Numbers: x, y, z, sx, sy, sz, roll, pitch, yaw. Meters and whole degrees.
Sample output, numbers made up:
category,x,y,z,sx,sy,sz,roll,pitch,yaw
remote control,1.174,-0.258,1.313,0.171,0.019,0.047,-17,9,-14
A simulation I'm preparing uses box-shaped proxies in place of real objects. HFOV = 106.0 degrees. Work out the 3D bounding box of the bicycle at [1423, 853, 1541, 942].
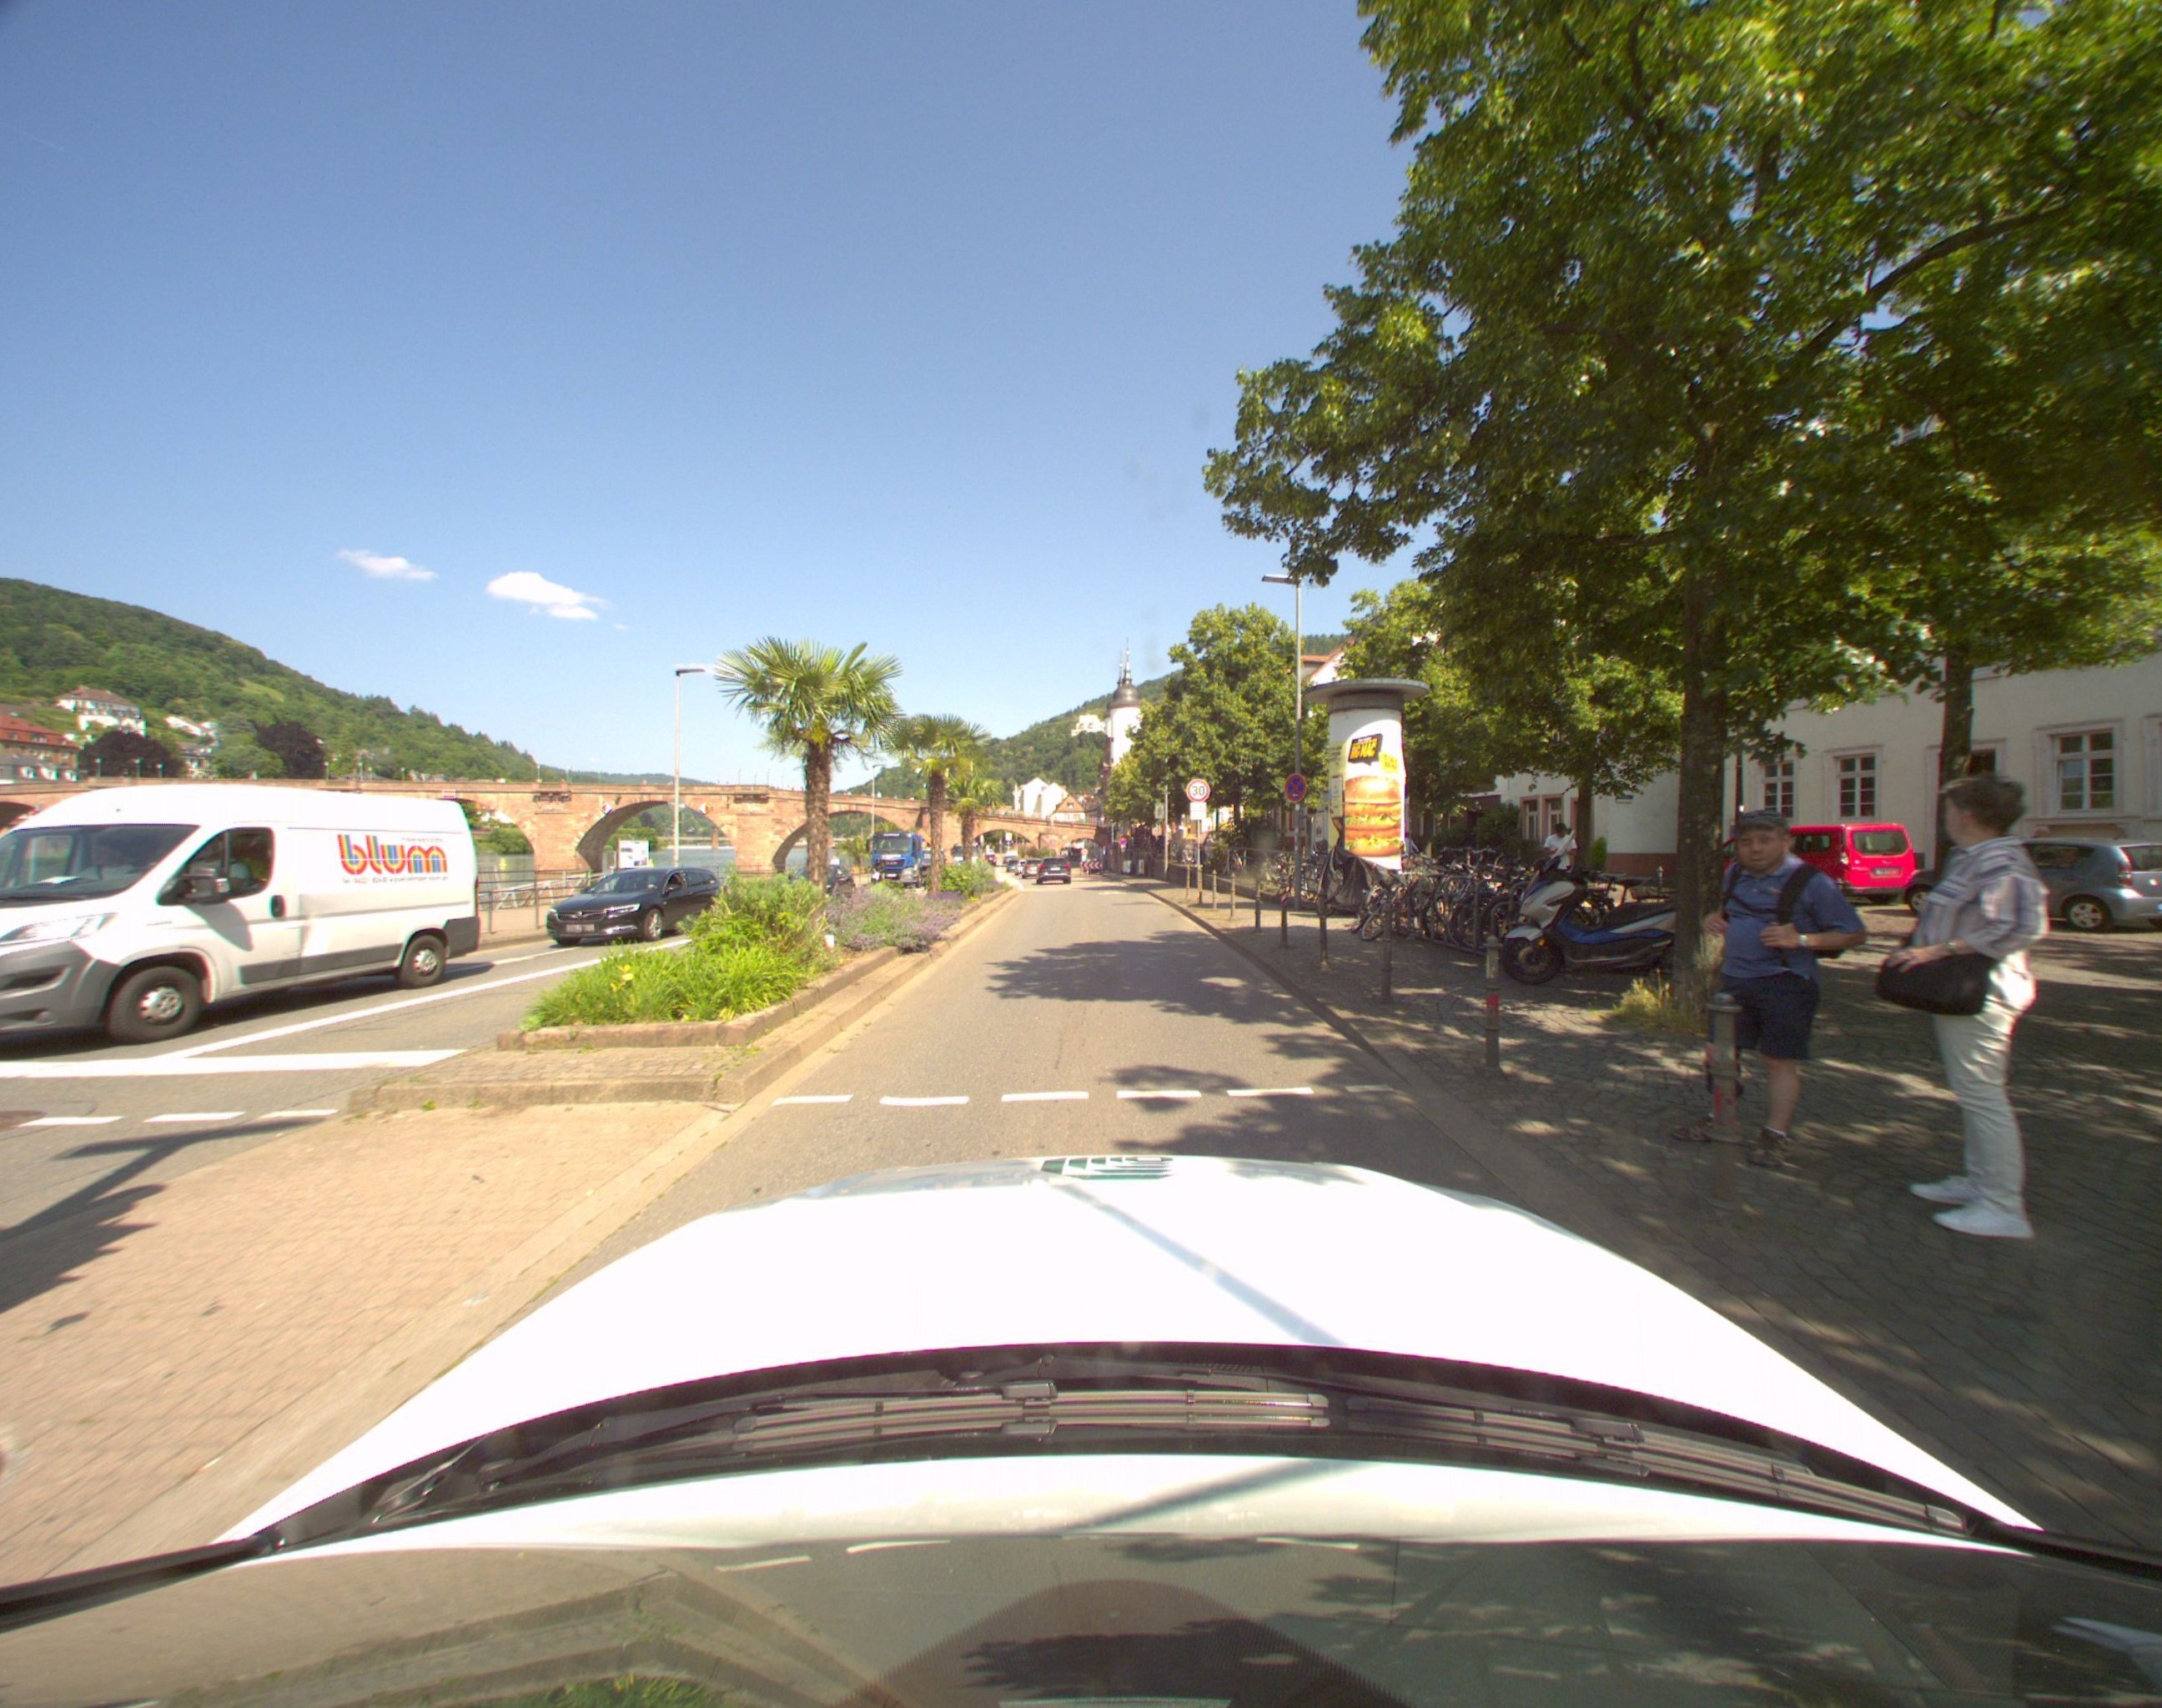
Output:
category,x,y,z,sx,sy,sz,roll,pitch,yaw
bicycle,5.275,0.560,10.726,1.482,1.120,0.250,-1,0,-6

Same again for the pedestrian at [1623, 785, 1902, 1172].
category,x,y,z,sx,sy,sz,roll,pitch,yaw
pedestrian,3.272,0.534,3.973,0.693,1.677,0.762,-2,1,-8

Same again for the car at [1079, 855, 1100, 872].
category,x,y,z,sx,sy,sz,roll,pitch,yaw
car,0.889,0.929,79.760,1.711,1.596,3.900,0,1,5

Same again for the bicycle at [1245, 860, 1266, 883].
category,x,y,z,sx,sy,sz,roll,pitch,yaw
bicycle,5.174,0.511,24.204,0.249,0.664,1.468,0,0,-2

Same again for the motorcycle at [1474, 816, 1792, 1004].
category,x,y,z,sx,sy,sz,roll,pitch,yaw
motorcycle,4.902,0.449,7.372,2.269,1.465,0.769,-1,-1,40

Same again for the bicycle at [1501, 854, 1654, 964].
category,x,y,z,sx,sy,sz,roll,pitch,yaw
bicycle,5.305,0.573,8.725,1.480,1.120,0.294,-1,0,-3

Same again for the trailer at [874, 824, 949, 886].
category,x,y,z,sx,sy,sz,roll,pitch,yaw
trailer,-10.050,0.004,49.239,2.649,3.403,8.825,0,1,0

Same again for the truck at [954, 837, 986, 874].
category,x,y,z,sx,sy,sz,roll,pitch,yaw
truck,-10.778,0.106,79.314,2.652,3.403,5.130,0,1,-3

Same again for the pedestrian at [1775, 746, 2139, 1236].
category,x,y,z,sx,sy,sz,roll,pitch,yaw
pedestrian,3.566,0.485,3.379,0.693,1.771,0.762,-2,1,-8

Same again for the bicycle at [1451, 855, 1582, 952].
category,x,y,z,sx,sy,sz,roll,pitch,yaw
bicycle,5.288,0.587,9.902,1.482,1.120,0.293,-1,0,-6

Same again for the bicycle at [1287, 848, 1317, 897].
category,x,y,z,sx,sy,sz,roll,pitch,yaw
bicycle,5.283,0.418,19.523,0.249,1.120,1.487,0,0,-2

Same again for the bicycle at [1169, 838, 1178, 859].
category,x,y,z,sx,sy,sz,roll,pitch,yaw
bicycle,4.854,-0.280,42.754,0.249,1.096,1.488,2,0,-1

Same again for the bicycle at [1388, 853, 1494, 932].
category,x,y,z,sx,sy,sz,roll,pitch,yaw
bicycle,5.301,0.558,12.003,1.482,1.120,0.250,-1,0,-6

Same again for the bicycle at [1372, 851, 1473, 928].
category,x,y,z,sx,sy,sz,roll,pitch,yaw
bicycle,5.323,0.551,12.701,1.482,1.120,0.250,-2,0,-6

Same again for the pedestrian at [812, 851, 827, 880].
category,x,y,z,sx,sy,sz,roll,pitch,yaw
pedestrian,-16.537,0.733,51.555,0.761,1.780,0.694,0,1,-9

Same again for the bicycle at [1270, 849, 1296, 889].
category,x,y,z,sx,sy,sz,roll,pitch,yaw
bicycle,5.220,0.373,21.062,0.249,1.010,1.487,0,0,-2

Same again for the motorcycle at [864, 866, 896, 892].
category,x,y,z,sx,sy,sz,roll,pitch,yaw
motorcycle,-9.408,1.148,38.188,0.754,1.131,2.457,0,1,3

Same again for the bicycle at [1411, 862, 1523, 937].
category,x,y,z,sx,sy,sz,roll,pitch,yaw
bicycle,5.339,0.624,11.268,1.482,0.979,0.250,-1,0,-6

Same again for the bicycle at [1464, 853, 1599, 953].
category,x,y,z,sx,sy,sz,roll,pitch,yaw
bicycle,5.312,0.563,9.605,1.482,1.120,0.293,-1,0,-6

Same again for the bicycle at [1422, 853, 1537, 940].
category,x,y,z,sx,sy,sz,roll,pitch,yaw
bicycle,5.384,0.565,10.999,1.482,1.120,0.250,-1,0,-6

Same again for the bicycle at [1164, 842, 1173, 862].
category,x,y,z,sx,sy,sz,roll,pitch,yaw
bicycle,4.810,-0.123,44.843,0.249,1.096,1.488,2,0,-1

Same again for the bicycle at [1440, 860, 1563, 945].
category,x,y,z,sx,sy,sz,roll,pitch,yaw
bicycle,5.405,0.609,10.489,1.482,1.031,0.293,-1,0,-6

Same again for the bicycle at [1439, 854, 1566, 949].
category,x,y,z,sx,sy,sz,roll,pitch,yaw
bicycle,5.272,0.581,10.192,1.482,1.120,0.293,-1,0,-6

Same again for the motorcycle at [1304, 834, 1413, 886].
category,x,y,z,sx,sy,sz,roll,pitch,yaw
motorcycle,7.694,0.154,22.677,2.810,1.398,0.830,0,0,18

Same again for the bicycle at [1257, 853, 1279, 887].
category,x,y,z,sx,sy,sz,roll,pitch,yaw
bicycle,5.190,0.435,22.650,0.249,0.904,1.487,0,0,-2

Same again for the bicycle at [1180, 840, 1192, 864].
category,x,y,z,sx,sy,sz,roll,pitch,yaw
bicycle,4.927,-0.114,38.424,0.274,1.096,1.488,-5,0,-1

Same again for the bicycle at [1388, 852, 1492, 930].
category,x,y,z,sx,sy,sz,roll,pitch,yaw
bicycle,5.405,0.553,12.264,1.482,1.120,0.250,-1,0,-6

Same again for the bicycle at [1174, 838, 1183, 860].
category,x,y,z,sx,sy,sz,roll,pitch,yaw
bicycle,4.874,-0.246,40.828,0.249,1.096,1.488,2,0,-1

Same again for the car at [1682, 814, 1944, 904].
category,x,y,z,sx,sy,sz,roll,pitch,yaw
car,17.108,0.058,19.443,1.989,1.902,4.629,0,1,-3

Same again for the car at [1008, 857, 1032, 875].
category,x,y,z,sx,sy,sz,roll,pitch,yaw
car,-5.930,1.109,79.102,1.987,1.553,4.831,0,1,0

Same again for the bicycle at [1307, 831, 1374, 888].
category,x,y,z,sx,sy,sz,roll,pitch,yaw
bicycle,6.932,0.141,21.782,1.702,1.483,0.269,-1,0,-3

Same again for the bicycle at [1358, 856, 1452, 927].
category,x,y,z,sx,sy,sz,roll,pitch,yaw
bicycle,5.283,0.601,13.277,1.482,1.120,0.250,0,0,-6

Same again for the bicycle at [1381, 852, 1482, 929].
category,x,y,z,sx,sy,sz,roll,pitch,yaw
bicycle,5.366,0.548,12.481,1.482,1.120,0.250,-1,0,-6

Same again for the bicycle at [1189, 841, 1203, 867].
category,x,y,z,sx,sy,sz,roll,pitch,yaw
bicycle,4.915,0.005,34.854,0.344,1.096,1.488,2,0,-1

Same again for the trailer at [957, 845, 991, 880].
category,x,y,z,sx,sy,sz,roll,pitch,yaw
trailer,-11.031,0.741,84.547,2.651,3.403,10.158,0,1,-3

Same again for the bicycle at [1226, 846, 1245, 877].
category,x,y,z,sx,sy,sz,roll,pitch,yaw
bicycle,5.161,0.243,27.248,0.249,1.000,1.487,2,0,-2

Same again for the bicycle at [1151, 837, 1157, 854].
category,x,y,z,sx,sy,sz,roll,pitch,yaw
bicycle,4.793,-0.556,53.462,0.354,1.096,1.491,2,0,5

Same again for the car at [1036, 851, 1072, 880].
category,x,y,z,sx,sy,sz,roll,pitch,yaw
car,-1.503,0.648,45.690,1.921,1.553,4.828,-1,-1,-2

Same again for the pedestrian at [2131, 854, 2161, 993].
category,x,y,z,sx,sy,sz,roll,pitch,yaw
pedestrian,10.321,0.655,7.384,0.625,1.281,0.752,2,0,-8

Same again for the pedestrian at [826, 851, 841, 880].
category,x,y,z,sx,sy,sz,roll,pitch,yaw
pedestrian,-15.695,0.732,51.629,0.761,1.780,0.694,0,1,-9

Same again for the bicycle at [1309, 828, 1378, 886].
category,x,y,z,sx,sy,sz,roll,pitch,yaw
bicycle,6.833,0.085,21.205,1.718,1.483,0.269,-1,0,-3

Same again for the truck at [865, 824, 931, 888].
category,x,y,z,sx,sy,sz,roll,pitch,yaw
truck,-10.029,0.083,45.000,2.649,3.403,4.449,0,1,0

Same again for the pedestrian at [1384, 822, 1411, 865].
category,x,y,z,sx,sy,sz,roll,pitch,yaw
pedestrian,14.422,-0.467,37.104,0.965,1.915,0.747,0,0,0

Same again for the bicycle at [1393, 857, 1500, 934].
category,x,y,z,sx,sy,sz,roll,pitch,yaw
bicycle,5.274,0.592,11.755,1.482,1.047,0.250,-1,0,-6

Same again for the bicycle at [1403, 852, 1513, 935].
category,x,y,z,sx,sy,sz,roll,pitch,yaw
bicycle,5.329,0.554,11.514,1.482,1.120,0.250,-1,0,-6

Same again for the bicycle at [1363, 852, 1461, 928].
category,x,y,z,sx,sy,sz,roll,pitch,yaw
bicycle,5.273,0.570,12.978,1.482,1.120,0.250,-3,0,-6

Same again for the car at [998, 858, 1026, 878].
category,x,y,z,sx,sy,sz,roll,pitch,yaw
car,-5.823,1.144,69.483,1.987,1.553,4.831,0,1,0

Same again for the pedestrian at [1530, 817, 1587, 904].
category,x,y,z,sx,sy,sz,roll,pitch,yaw
pedestrian,9.239,0.117,15.768,0.705,1.653,0.707,0,0,1

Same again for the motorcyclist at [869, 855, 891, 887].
category,x,y,z,sx,sy,sz,roll,pitch,yaw
motorcyclist,-9.404,0.791,38.116,0.733,1.470,1.012,0,0,2

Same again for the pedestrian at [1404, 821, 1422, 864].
category,x,y,z,sx,sy,sz,roll,pitch,yaw
pedestrian,15.612,-0.530,38.311,0.632,2.013,0.644,0,0,0

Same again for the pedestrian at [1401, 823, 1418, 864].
category,x,y,z,sx,sy,sz,roll,pitch,yaw
pedestrian,16.210,-0.537,40.225,0.584,2.013,0.596,0,0,-1

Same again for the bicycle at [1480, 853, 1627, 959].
category,x,y,z,sx,sy,sz,roll,pitch,yaw
bicycle,5.273,0.566,9.107,1.482,1.120,0.377,-1,0,-6

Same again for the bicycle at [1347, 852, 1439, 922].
category,x,y,z,sx,sy,sz,roll,pitch,yaw
bicycle,5.208,0.544,13.593,1.482,1.132,0.250,0,0,-6

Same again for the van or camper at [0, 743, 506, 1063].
category,x,y,z,sx,sy,sz,roll,pitch,yaw
van or camper,-9.232,0.409,8.948,1.988,2.450,5.491,-2,0,-2

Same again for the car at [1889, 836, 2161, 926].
category,x,y,z,sx,sy,sz,roll,pitch,yaw
car,17.230,0.411,14.766,1.670,1.432,3.468,0,0,-3

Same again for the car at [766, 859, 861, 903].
category,x,y,z,sx,sy,sz,roll,pitch,yaw
car,-9.504,0.931,29.346,1.946,1.413,4.218,-2,-1,0

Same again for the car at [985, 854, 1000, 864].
category,x,y,z,sx,sy,sz,roll,pitch,yaw
car,-14.653,0.764,135.343,1.987,1.553,4.831,0,1,0

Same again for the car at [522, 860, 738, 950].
category,x,y,z,sx,sy,sz,roll,pitch,yaw
car,-9.189,0.938,17.200,1.813,1.455,4.927,-2,1,-1
